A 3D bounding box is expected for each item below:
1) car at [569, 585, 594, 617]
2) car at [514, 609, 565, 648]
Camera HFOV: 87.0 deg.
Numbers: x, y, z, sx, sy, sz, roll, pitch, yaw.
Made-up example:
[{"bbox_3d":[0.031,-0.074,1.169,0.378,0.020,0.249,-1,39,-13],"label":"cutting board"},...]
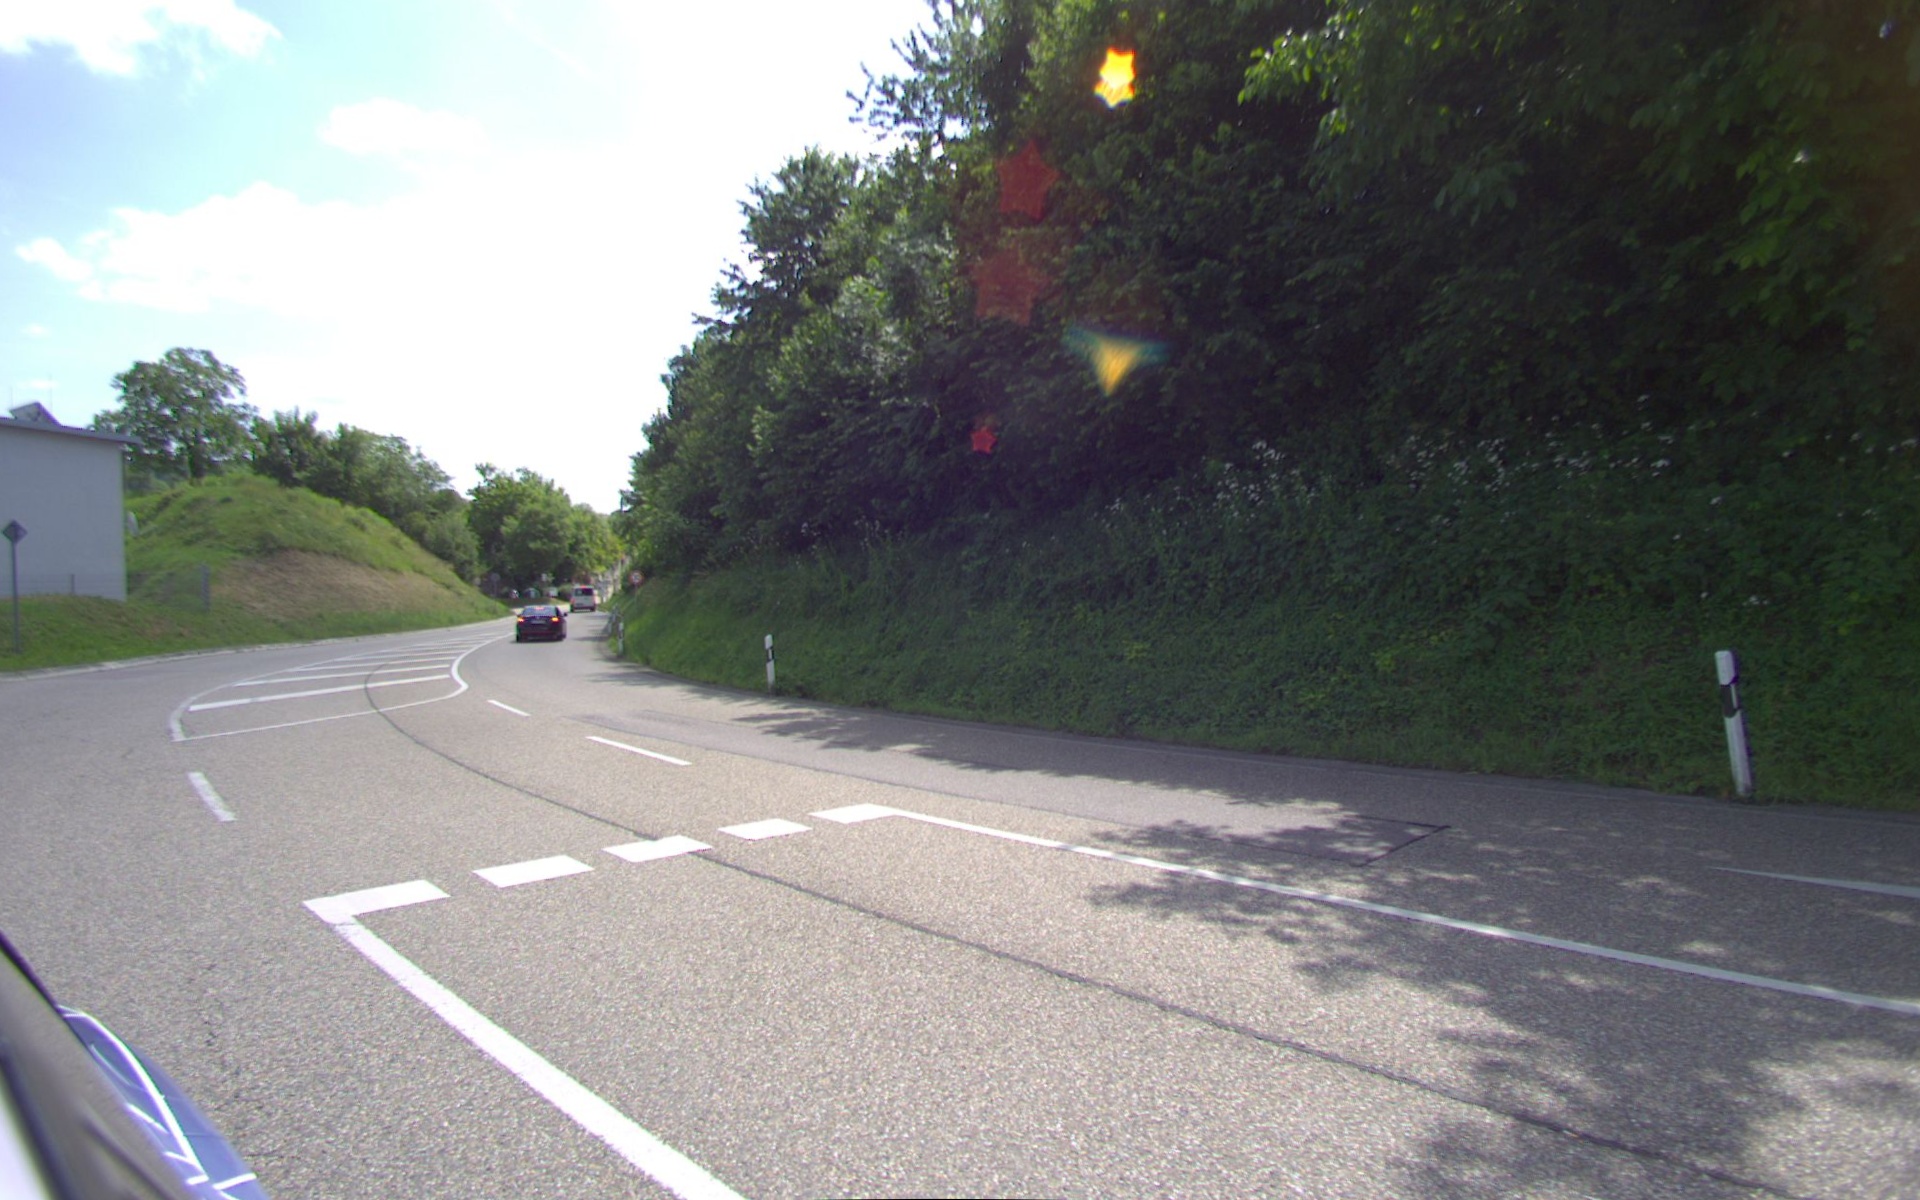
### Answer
[{"bbox_3d":[-34.013,0.058,90.882,2.056,2.307,5.968,0,5,-21],"label":"car"},{"bbox_3d":[-17.150,1.130,41.410,1.661,1.430,4.358,1,0,-19],"label":"car"}]
